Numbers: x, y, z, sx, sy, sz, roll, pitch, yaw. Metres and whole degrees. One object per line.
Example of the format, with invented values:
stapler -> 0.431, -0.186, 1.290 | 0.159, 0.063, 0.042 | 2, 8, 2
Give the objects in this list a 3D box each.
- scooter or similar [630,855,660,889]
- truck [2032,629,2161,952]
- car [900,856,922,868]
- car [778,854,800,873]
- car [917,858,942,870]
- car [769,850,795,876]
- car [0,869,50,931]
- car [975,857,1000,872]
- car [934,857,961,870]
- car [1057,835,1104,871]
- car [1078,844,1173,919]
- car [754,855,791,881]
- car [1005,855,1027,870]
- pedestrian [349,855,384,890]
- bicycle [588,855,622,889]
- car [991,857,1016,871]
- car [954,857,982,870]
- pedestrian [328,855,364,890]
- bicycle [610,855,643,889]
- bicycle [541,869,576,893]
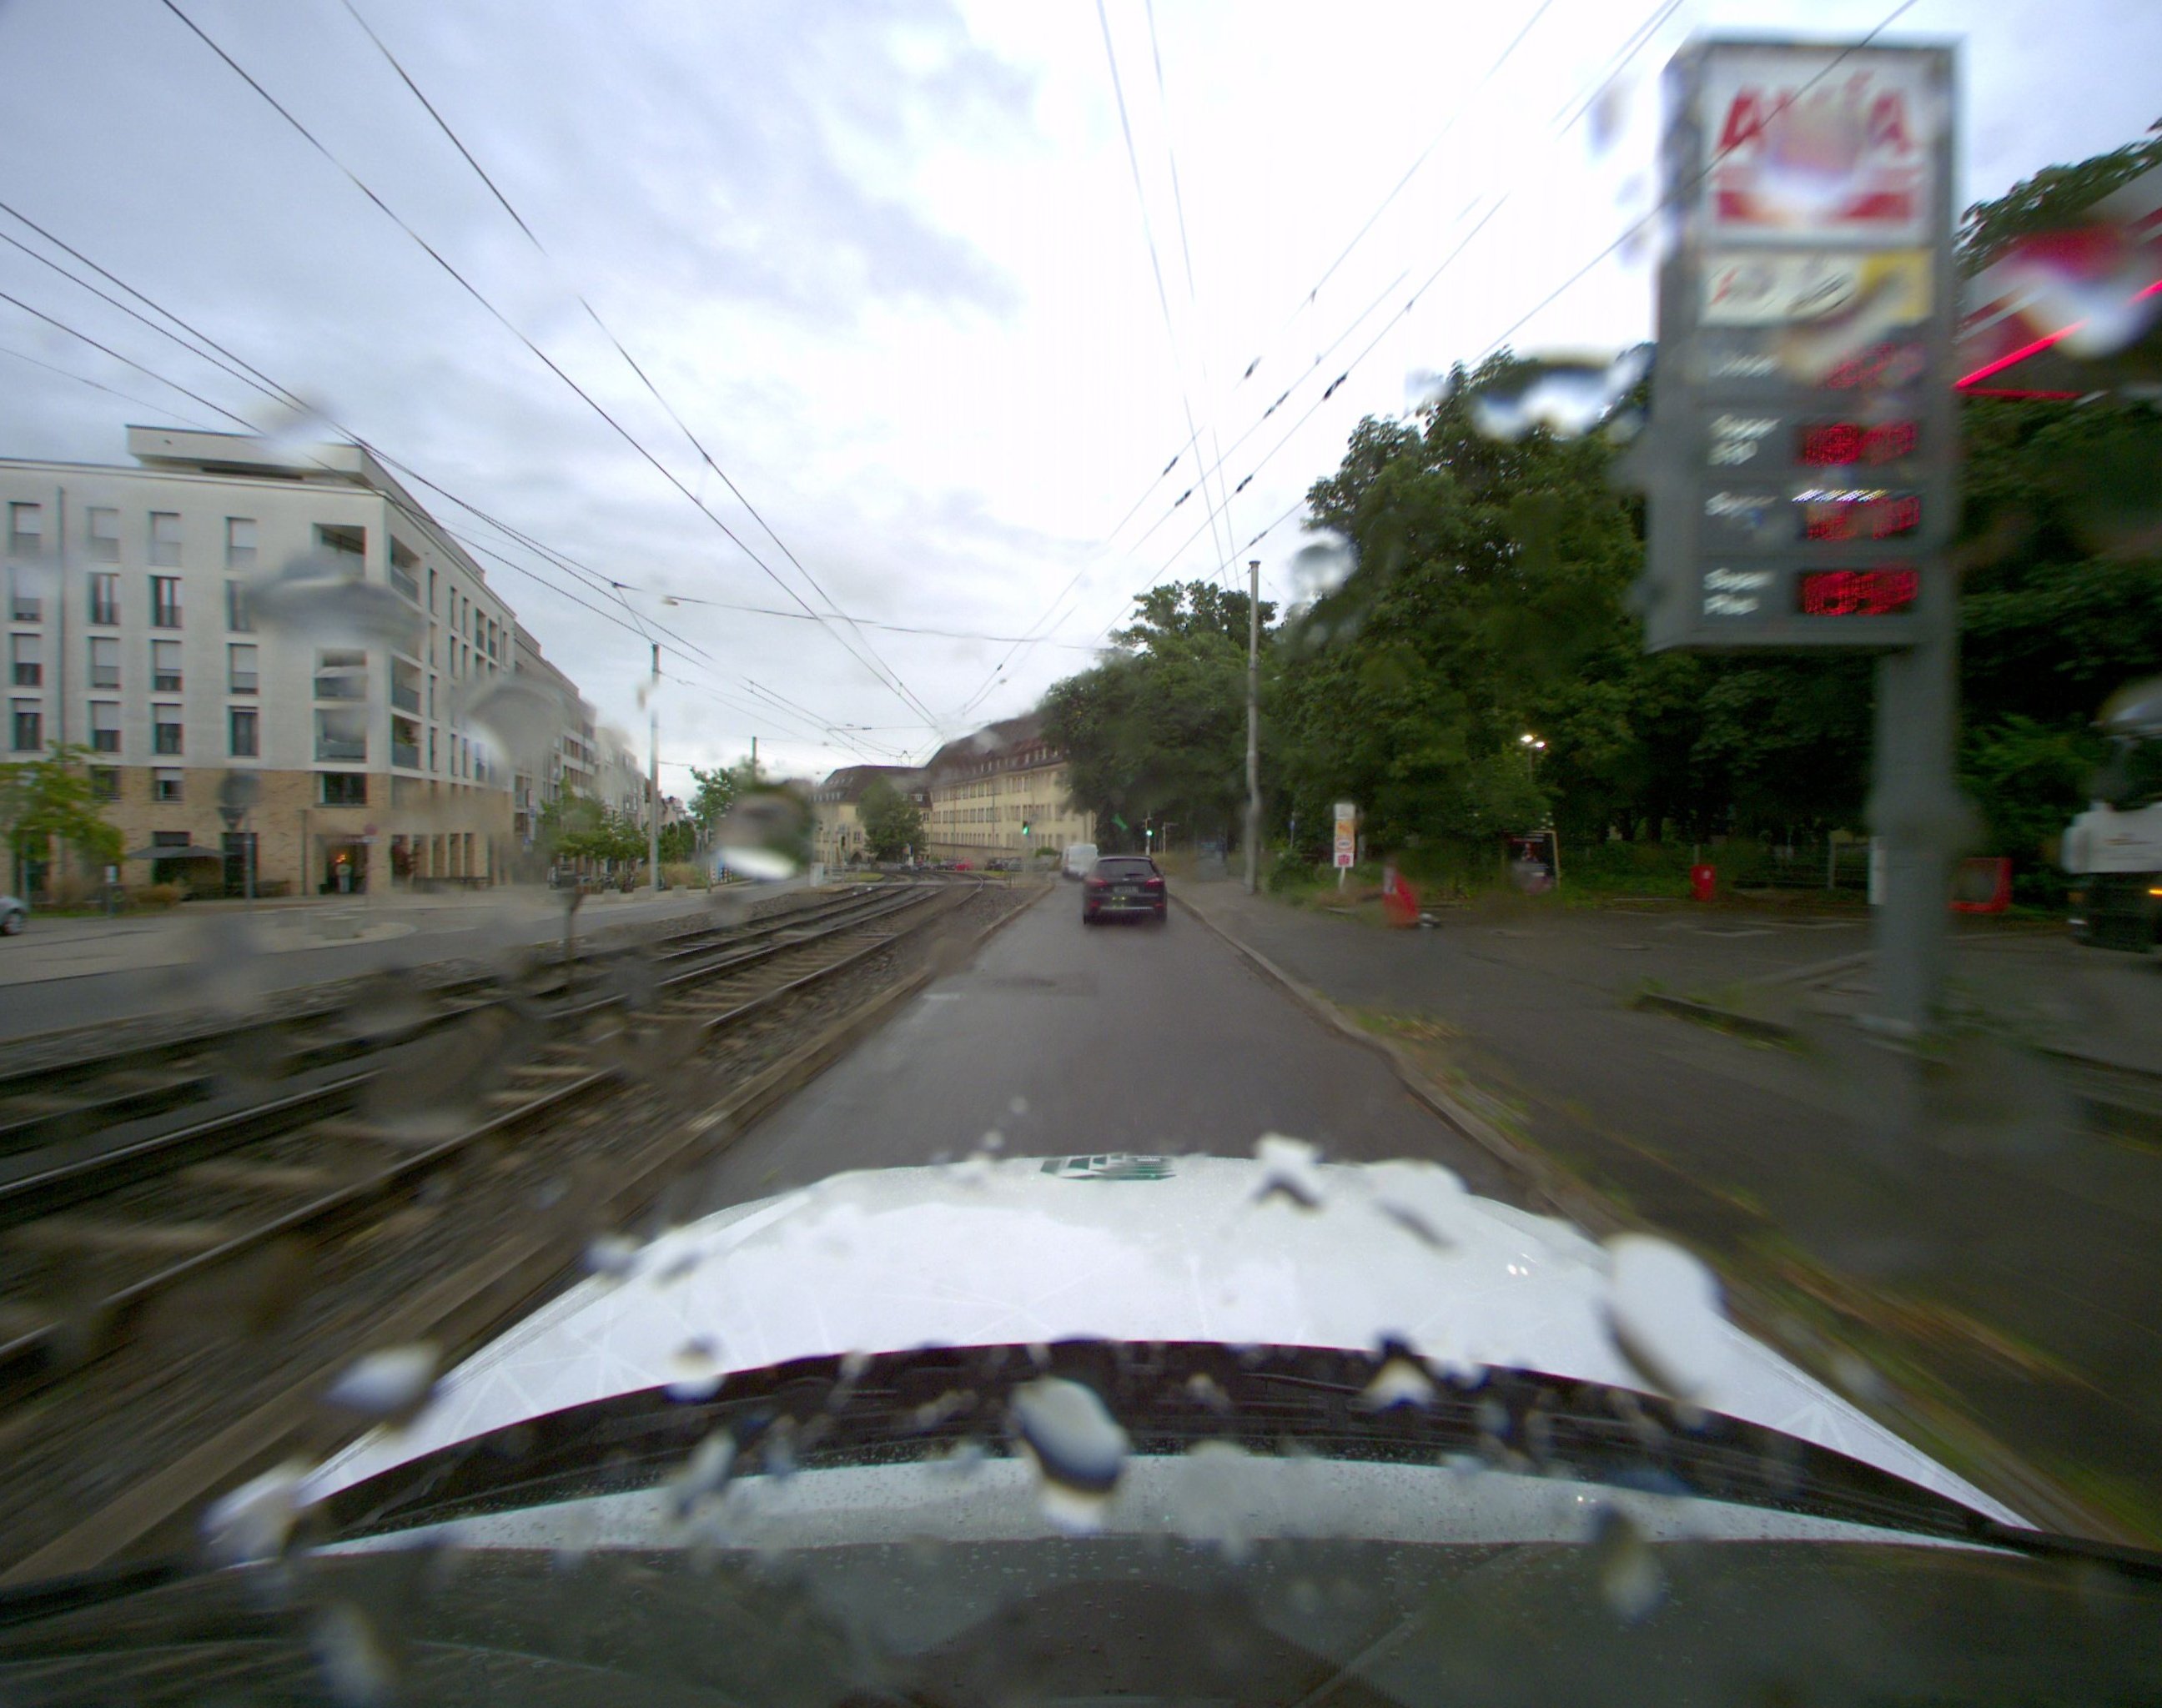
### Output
scooter or similar -> -21.369, 0.859, 39.926 | 0.600, 1.596, 2.352 | -1, -1, -11
truck -> 13.085, -0.695, 6.807 | 2.827, 3.399, 6.107 | -1, 0, -9
car -> -23.293, 1.109, 111.337 | 1.676, 1.524, 4.068 | -2, 0, -31
car -> -24.944, 0.814, 69.614 | 1.471, 1.531, 2.917 | 1, -1, -14
car -> -19.874, 1.354, 106.460 | 1.678, 1.476, 4.065 | -2, 0, -34
car -> -22.133, 0.698, 60.336 | 1.585, 1.859, 4.306 | 1, -1, -18
car -> -25.288, 1.063, 17.910 | 1.603, 1.420, 3.885 | 0, -1, -24
car -> -10.653, 1.184, 92.593 | 1.673, 1.573, 3.824 | -2, 0, -25
car -> -16.671, 1.219, 101.636 | 1.676, 1.476, 4.413 | -2, 0, -31
car -> -0.080, -0.042, 42.888 | 2.133, 1.745, 4.212 | -1, 0, -4
car -> 0.914, 0.564, 18.545 | 1.914, 1.479, 4.000 | -1, 0, 0
car -> -20.776, 0.945, 55.038 | 1.998, 1.605, 4.190 | 3, -2, -17
car -> -6.694, 0.859, 83.720 | 1.602, 1.465, 2.704 | -2, 0, -18
pedestrian -> -35.093, 0.891, 40.007 | 0.833, 1.652, 0.906 | -2, 0, 10
bicycle -> -23.109, 0.872, 39.553 | 0.675, 1.596, 2.352 | -1, -1, -11
car -> -8.330, 1.045, 87.454 | 1.544, 1.416, 3.612 | -2, 0, -26
car -> -13.461, 1.189, 97.048 | 1.678, 1.476, 4.022 | 1, -2, -35
pedestrian -> -35.211, 0.883, 39.010 | 0.834, 1.652, 0.906 | -3, 0, 9
bicycle -> -22.155, 0.882, 39.736 | 0.675, 1.596, 2.352 | -1, -1, -11
bicycle -> -25.109, 1.293, 39.188 | 0.474, 1.047, 2.224 | -1, 0, -7
